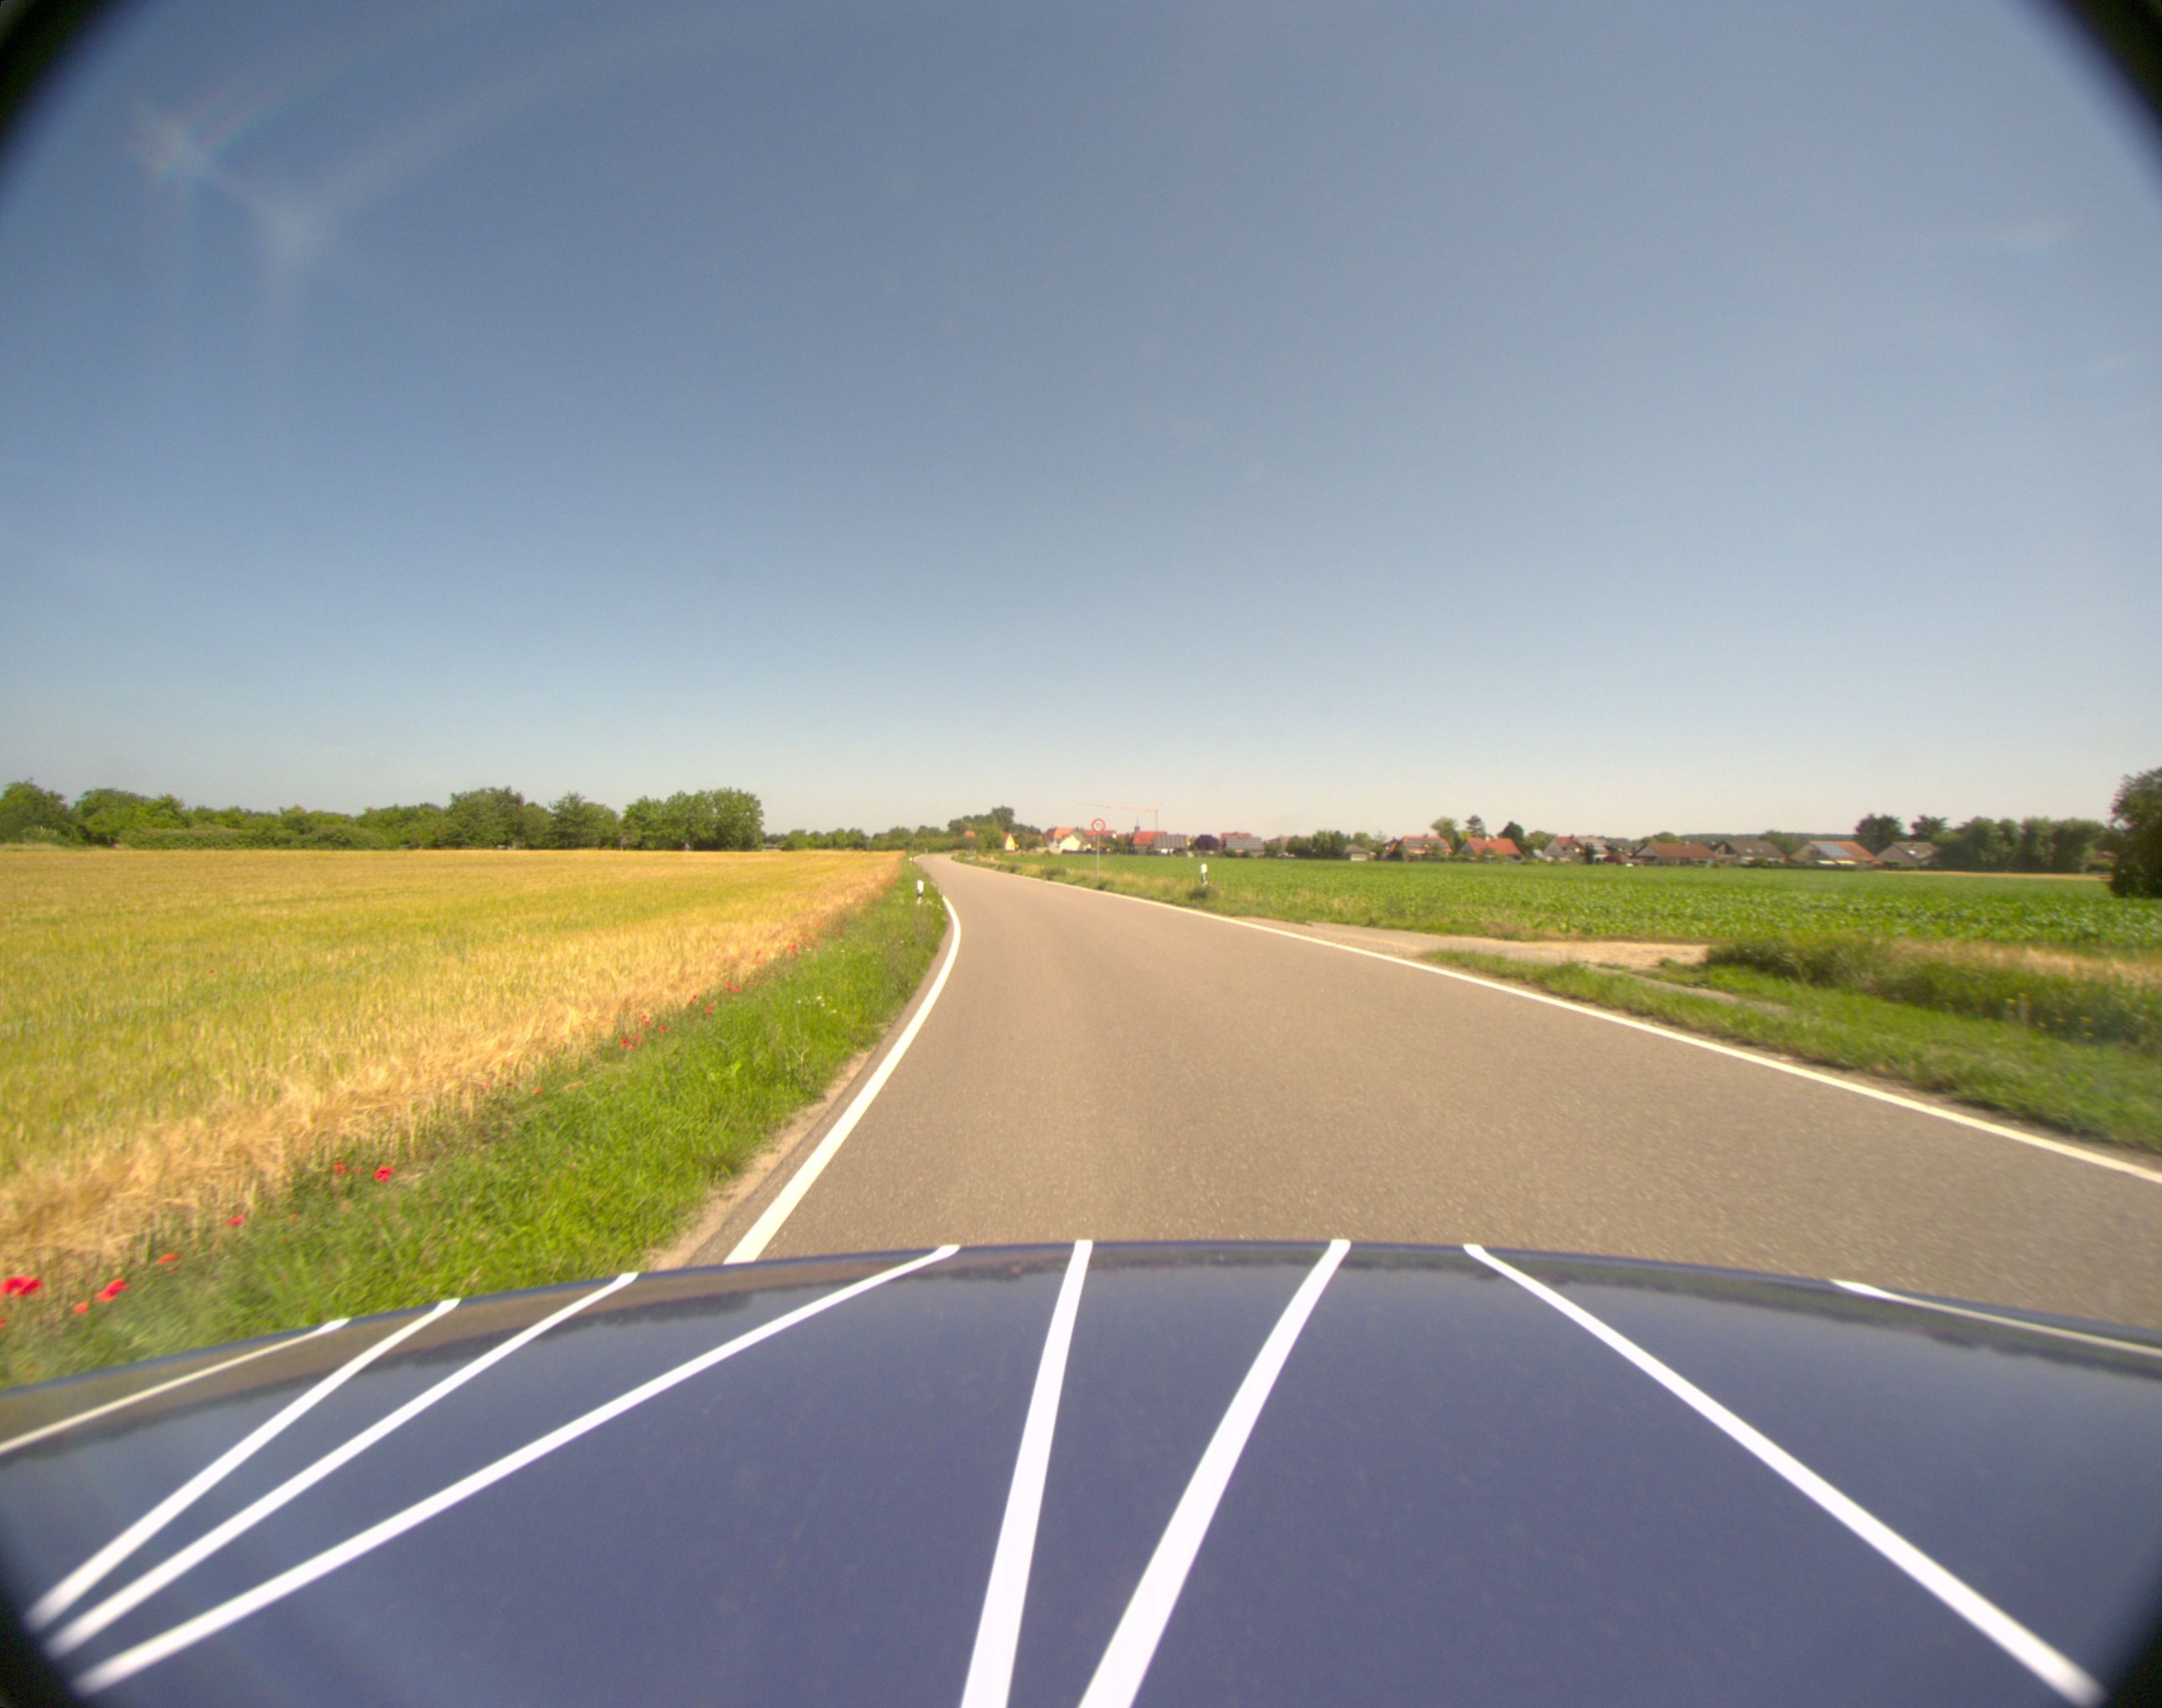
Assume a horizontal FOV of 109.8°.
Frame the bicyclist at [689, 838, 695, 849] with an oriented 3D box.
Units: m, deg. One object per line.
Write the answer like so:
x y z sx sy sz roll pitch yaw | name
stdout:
-57.932 -1.541 113.152 0.672 1.565 0.737 2 2 43 | bicyclist

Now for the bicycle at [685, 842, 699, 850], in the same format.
-57.940 -1.154 113.161 0.520 1.109 1.773 2 2 43 | bicycle
